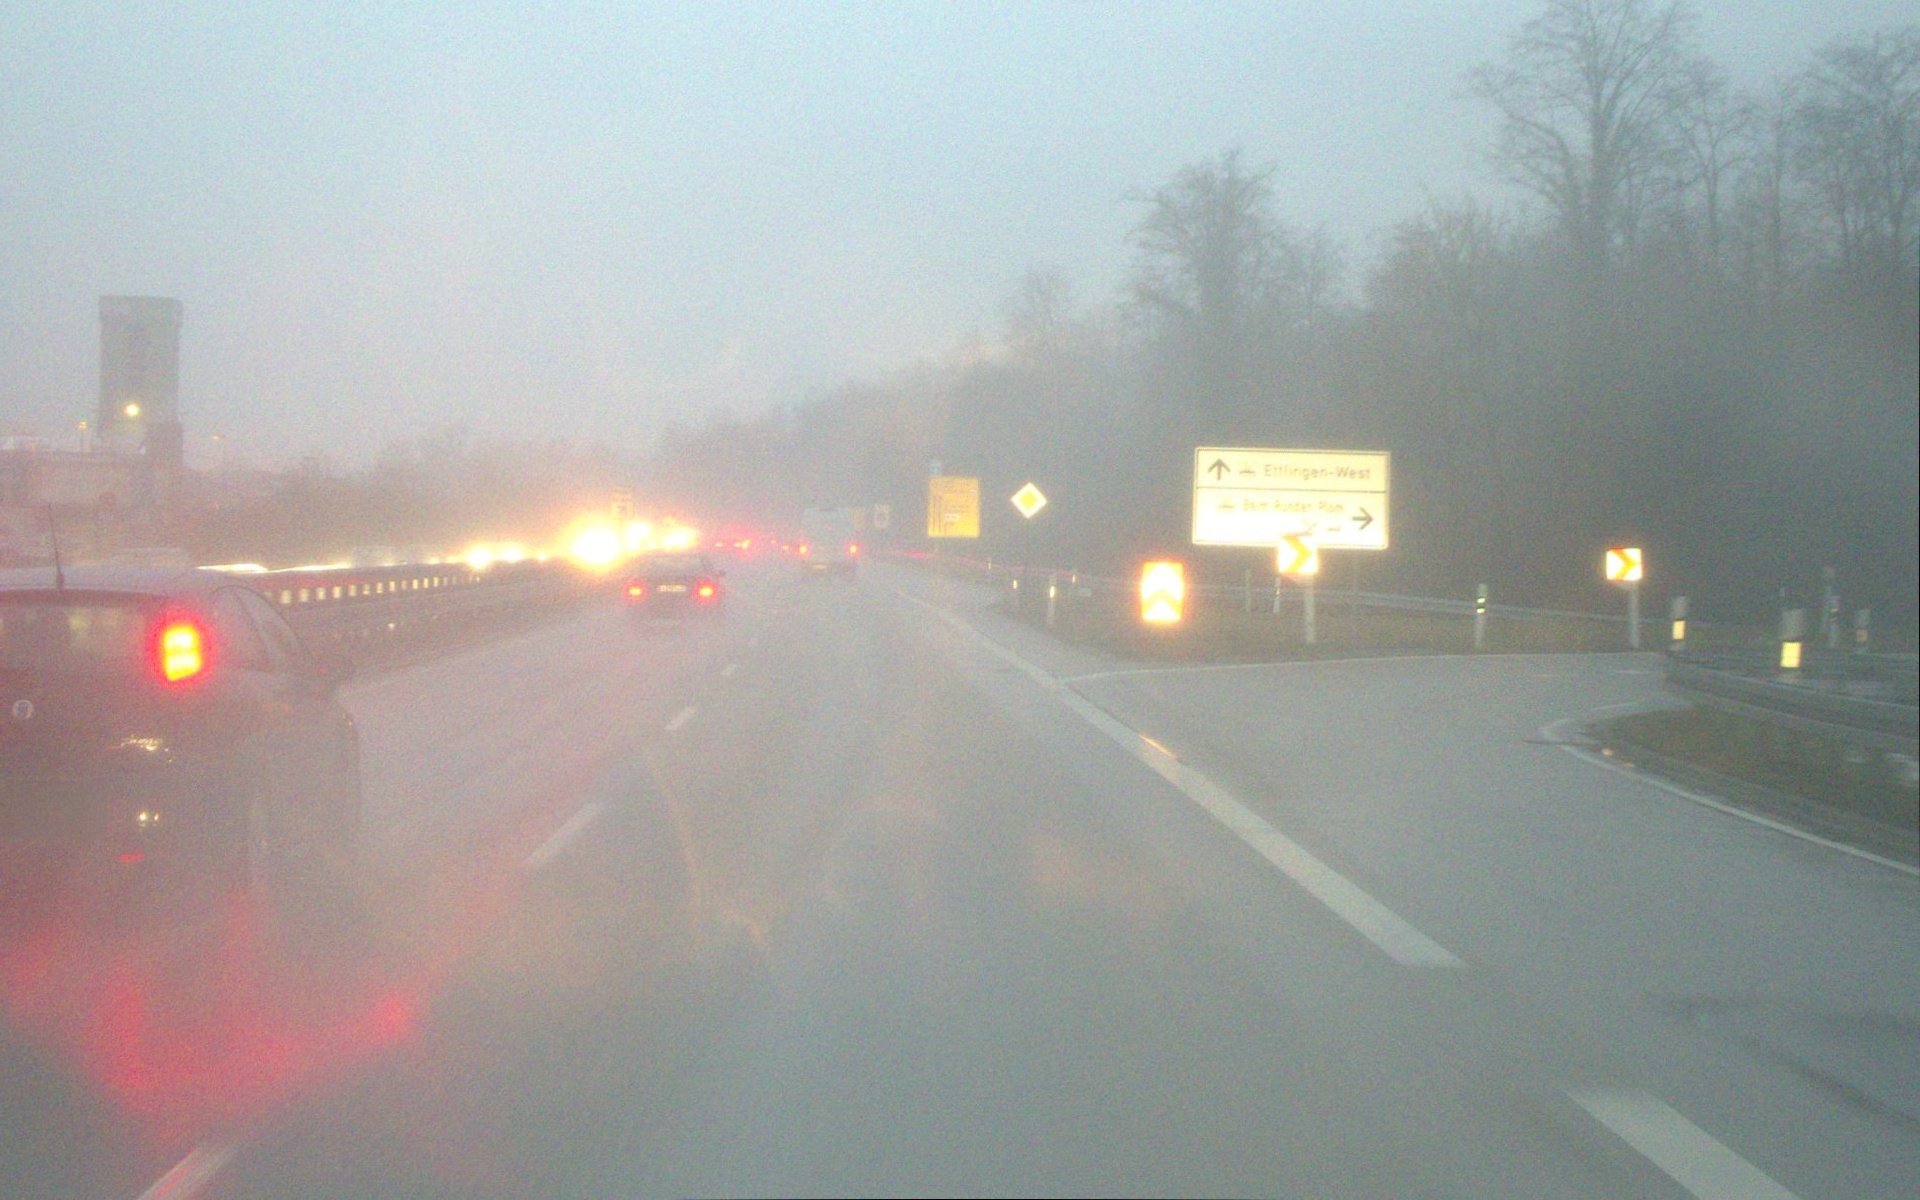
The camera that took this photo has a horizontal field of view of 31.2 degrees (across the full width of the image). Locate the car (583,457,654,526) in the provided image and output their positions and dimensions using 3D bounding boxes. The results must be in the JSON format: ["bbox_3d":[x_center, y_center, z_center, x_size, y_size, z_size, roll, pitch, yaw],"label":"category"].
[{"bbox_3d":[-11.207,-3.561,112.586,2.122,2.113,3.576,3,2,-7],"label":"car"}]

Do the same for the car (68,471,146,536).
[{"bbox_3d":[-25.670,-2.889,103.604,1.890,1.815,3.875,3,1,-9],"label":"car"}]

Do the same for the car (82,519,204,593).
[{"bbox_3d":[-15.966,-0.882,67.311,1.610,1.395,3.621,1,1,-1],"label":"car"}]

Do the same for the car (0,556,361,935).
[{"bbox_3d":[-3.733,0.570,15.627,1.527,1.411,3.479,3,1,-3],"label":"car"}]

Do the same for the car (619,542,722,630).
[{"bbox_3d":[-5.307,-0.290,63.463,1.775,1.529,4.703,1,1,-4],"label":"car"}]
